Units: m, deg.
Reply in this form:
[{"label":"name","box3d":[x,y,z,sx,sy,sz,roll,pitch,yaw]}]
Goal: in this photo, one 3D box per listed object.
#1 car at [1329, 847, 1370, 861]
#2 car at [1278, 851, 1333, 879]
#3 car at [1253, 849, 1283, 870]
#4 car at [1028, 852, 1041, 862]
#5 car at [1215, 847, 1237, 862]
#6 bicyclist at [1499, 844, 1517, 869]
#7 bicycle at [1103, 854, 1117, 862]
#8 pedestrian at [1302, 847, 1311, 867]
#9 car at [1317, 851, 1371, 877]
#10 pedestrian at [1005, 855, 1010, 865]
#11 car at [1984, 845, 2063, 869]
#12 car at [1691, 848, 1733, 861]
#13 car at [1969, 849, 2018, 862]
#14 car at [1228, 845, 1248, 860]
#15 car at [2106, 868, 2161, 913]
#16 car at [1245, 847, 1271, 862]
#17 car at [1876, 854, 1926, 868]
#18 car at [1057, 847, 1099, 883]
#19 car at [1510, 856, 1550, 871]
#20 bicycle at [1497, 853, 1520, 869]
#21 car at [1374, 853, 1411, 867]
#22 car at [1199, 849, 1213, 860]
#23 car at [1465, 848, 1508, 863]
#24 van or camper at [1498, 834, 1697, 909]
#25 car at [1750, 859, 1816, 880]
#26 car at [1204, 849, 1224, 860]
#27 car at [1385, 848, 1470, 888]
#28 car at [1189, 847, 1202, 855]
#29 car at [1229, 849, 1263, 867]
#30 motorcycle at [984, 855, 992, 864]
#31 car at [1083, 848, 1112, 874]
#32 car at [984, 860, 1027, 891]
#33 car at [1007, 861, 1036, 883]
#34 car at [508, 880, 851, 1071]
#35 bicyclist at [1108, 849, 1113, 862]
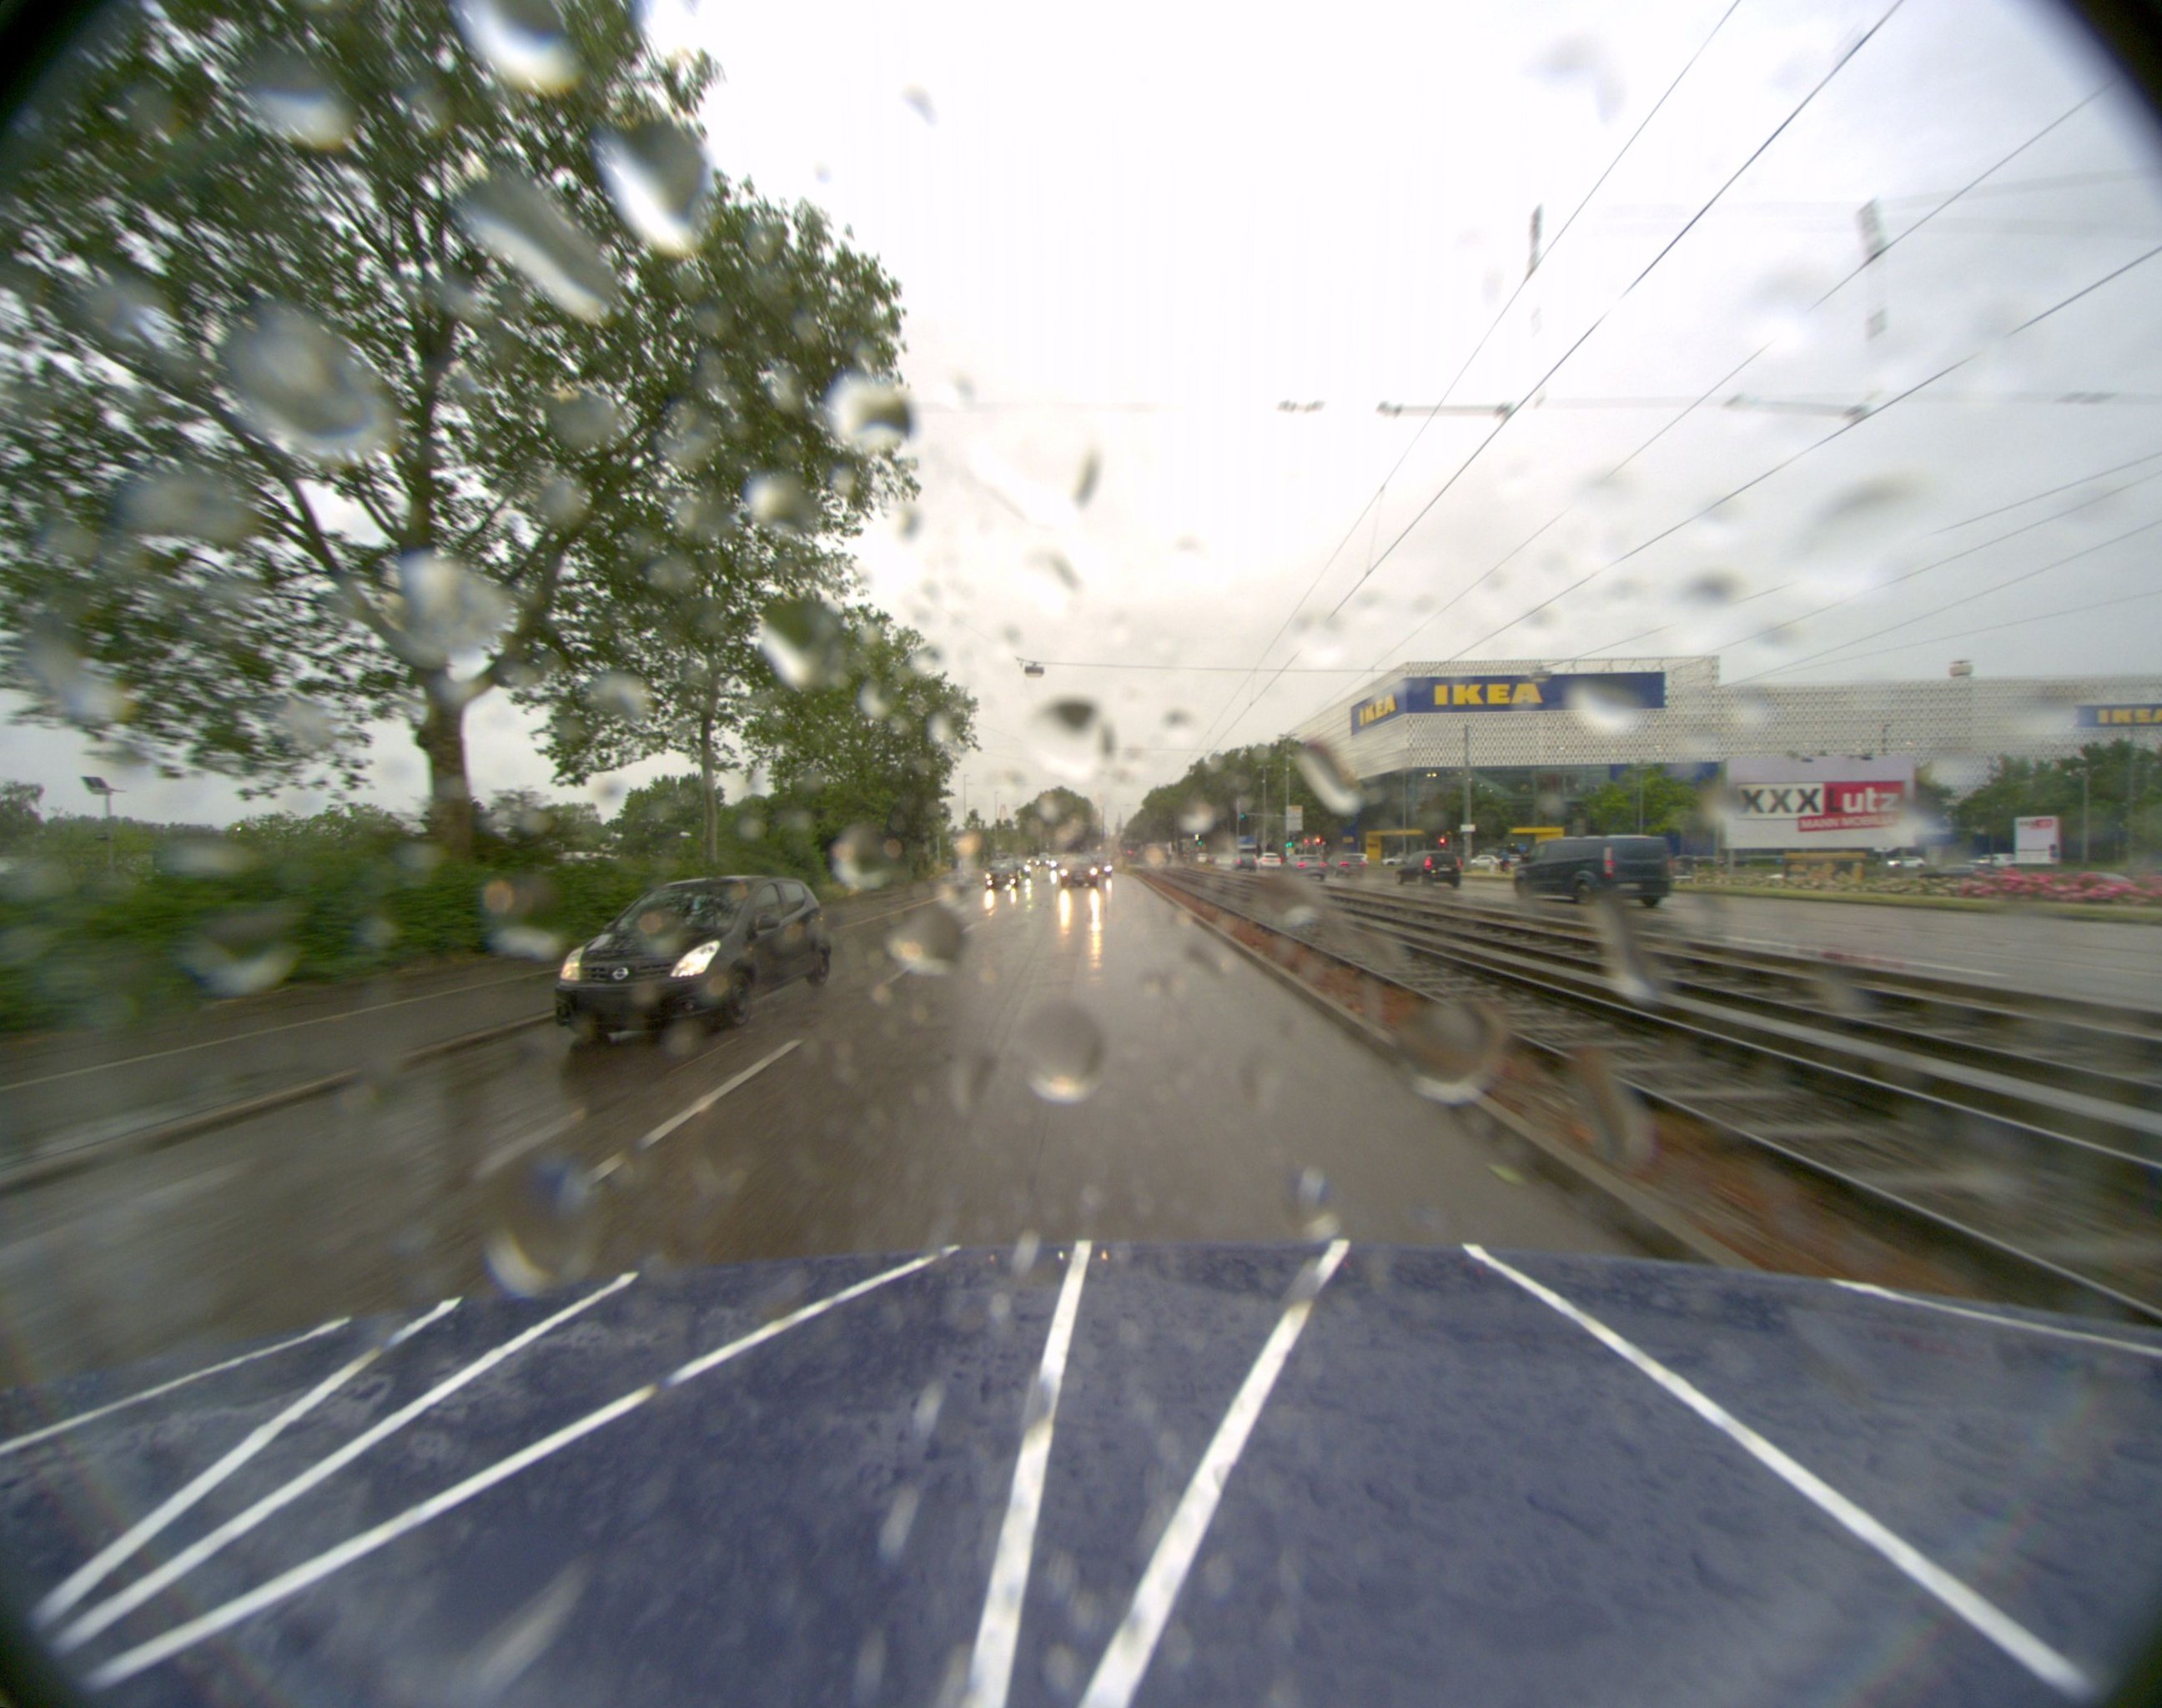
[{"label":"car","box3d":[33.295,-0.003,94.273,4.459,1.532,1.820,-2,0,4]},{"label":"car","box3d":[12.782,0.581,43.550,1.862,1.485,4.689,0,1,2]},{"label":"car","box3d":[18.043,0.492,73.593,1.998,1.823,4.693,-1,1,3]},{"label":"car","box3d":[-7.917,0.566,128.785,1.715,1.515,4.178,-3,-1,1]},{"label":"car","box3d":[16.272,0.048,85.413,1.877,1.564,4.329,-3,-1,3]},{"label":"bicyclist","box3d":[28.533,0.166,50.758,0.673,1.580,0.792,-3,1,2]},{"label":"bicycle","box3d":[3.934,0.510,104.216,1.870,1.002,0.670,-3,0,0]},{"label":"pedestrian","box3d":[27.266,0.369,91.920,0.920,2.232,0.990,-3,3,15]},{"label":"car","box3d":[16.517,0.607,47.942,1.968,1.508,4.554,1,1,2]},{"label":"pedestrian","box3d":[-11.271,0.934,116.635,0.734,1.602,0.618,0,2,1]},{"label":"car","box3d":[83.515,0.237,67.420,1.999,2.002,3.999,-3,1,-1]},{"label":"car","box3d":[78.616,0.045,94.656,3.821,1.399,1.602,-3,1,4]},{"label":"car","box3d":[111.665,0.187,92.980,3.821,1.399,1.602,-3,1,4]},{"label":"car","box3d":[22.453,-0.241,108.821,1.998,1.891,4.790,-3,1,2]},{"label":"car","box3d":[53.045,1.803,36.562,1.999,2.002,3.999,-3,1,-1]},{"label":"car","box3d":[20.923,0.093,89.857,1.912,1.597,4.842,-4,0,1]},{"label":"car","box3d":[101.707,0.861,94.235,4.162,1.399,1.709,-3,1,4]},{"label":"car","box3d":[-0.120,0.520,37.462,1.876,1.573,4.043,-3,0,0]},{"label":"car","box3d":[56.904,1.189,96.422,4.010,1.664,1.682,-3,1,4]},{"label":"bicycle","box3d":[28.548,0.431,50.756,0.670,1.010,1.556,-3,1,2]},{"label":"car","box3d":[39.792,0.785,97.142,4.014,1.609,1.760,-3,1,4]},{"label":"car","box3d":[18.508,0.132,112.661,1.716,1.526,4.049,-3,-1,4]},{"label":"car","box3d":[49.670,0.162,93.078,4.106,1.594,2.000,-3,1,3]},{"label":"van or camper","box3d":[15.304,0.435,23.076,2.310,2.002,5.685,0,1,2]},{"label":"car","box3d":[59.404,1.297,64.400,1.804,1.595,3.999,-3,1,-1]},{"label":"car","box3d":[17.265,0.080,98.843,1.927,1.415,5.085,2,0,3]},{"label":"car","box3d":[15.816,0.596,34.999,1.862,1.608,4.908,1,1,3]},{"label":"car","box3d":[18.921,-0.516,125.826,1.716,1.242,4.463,-3,-1,3]},{"label":"car","box3d":[14.240,0.293,65.842,1.998,1.448,4.671,1,1,2]},{"label":"motorcycle","box3d":[-13.351,0.775,109.035,0.633,1.211,1.449,0,0,13]},{"label":"car","box3d":[1.049,0.433,48.909,1.715,1.515,4.043,-3,-1,1]},{"label":"car","box3d":[-3.924,1.104,40.246,1.715,1.476,4.043,-3,-1,1]},{"label":"car","box3d":[-4.442,1.300,56.914,1.715,1.515,4.043,-3,-1,1]},{"label":"car","box3d":[-4.048,1.104,8.553,1.776,1.453,4.091,-3,-1,-3]},{"label":"bicyclist","box3d":[4.032,0.211,104.149,0.618,1.721,0.793,-3,0,-1]}]
